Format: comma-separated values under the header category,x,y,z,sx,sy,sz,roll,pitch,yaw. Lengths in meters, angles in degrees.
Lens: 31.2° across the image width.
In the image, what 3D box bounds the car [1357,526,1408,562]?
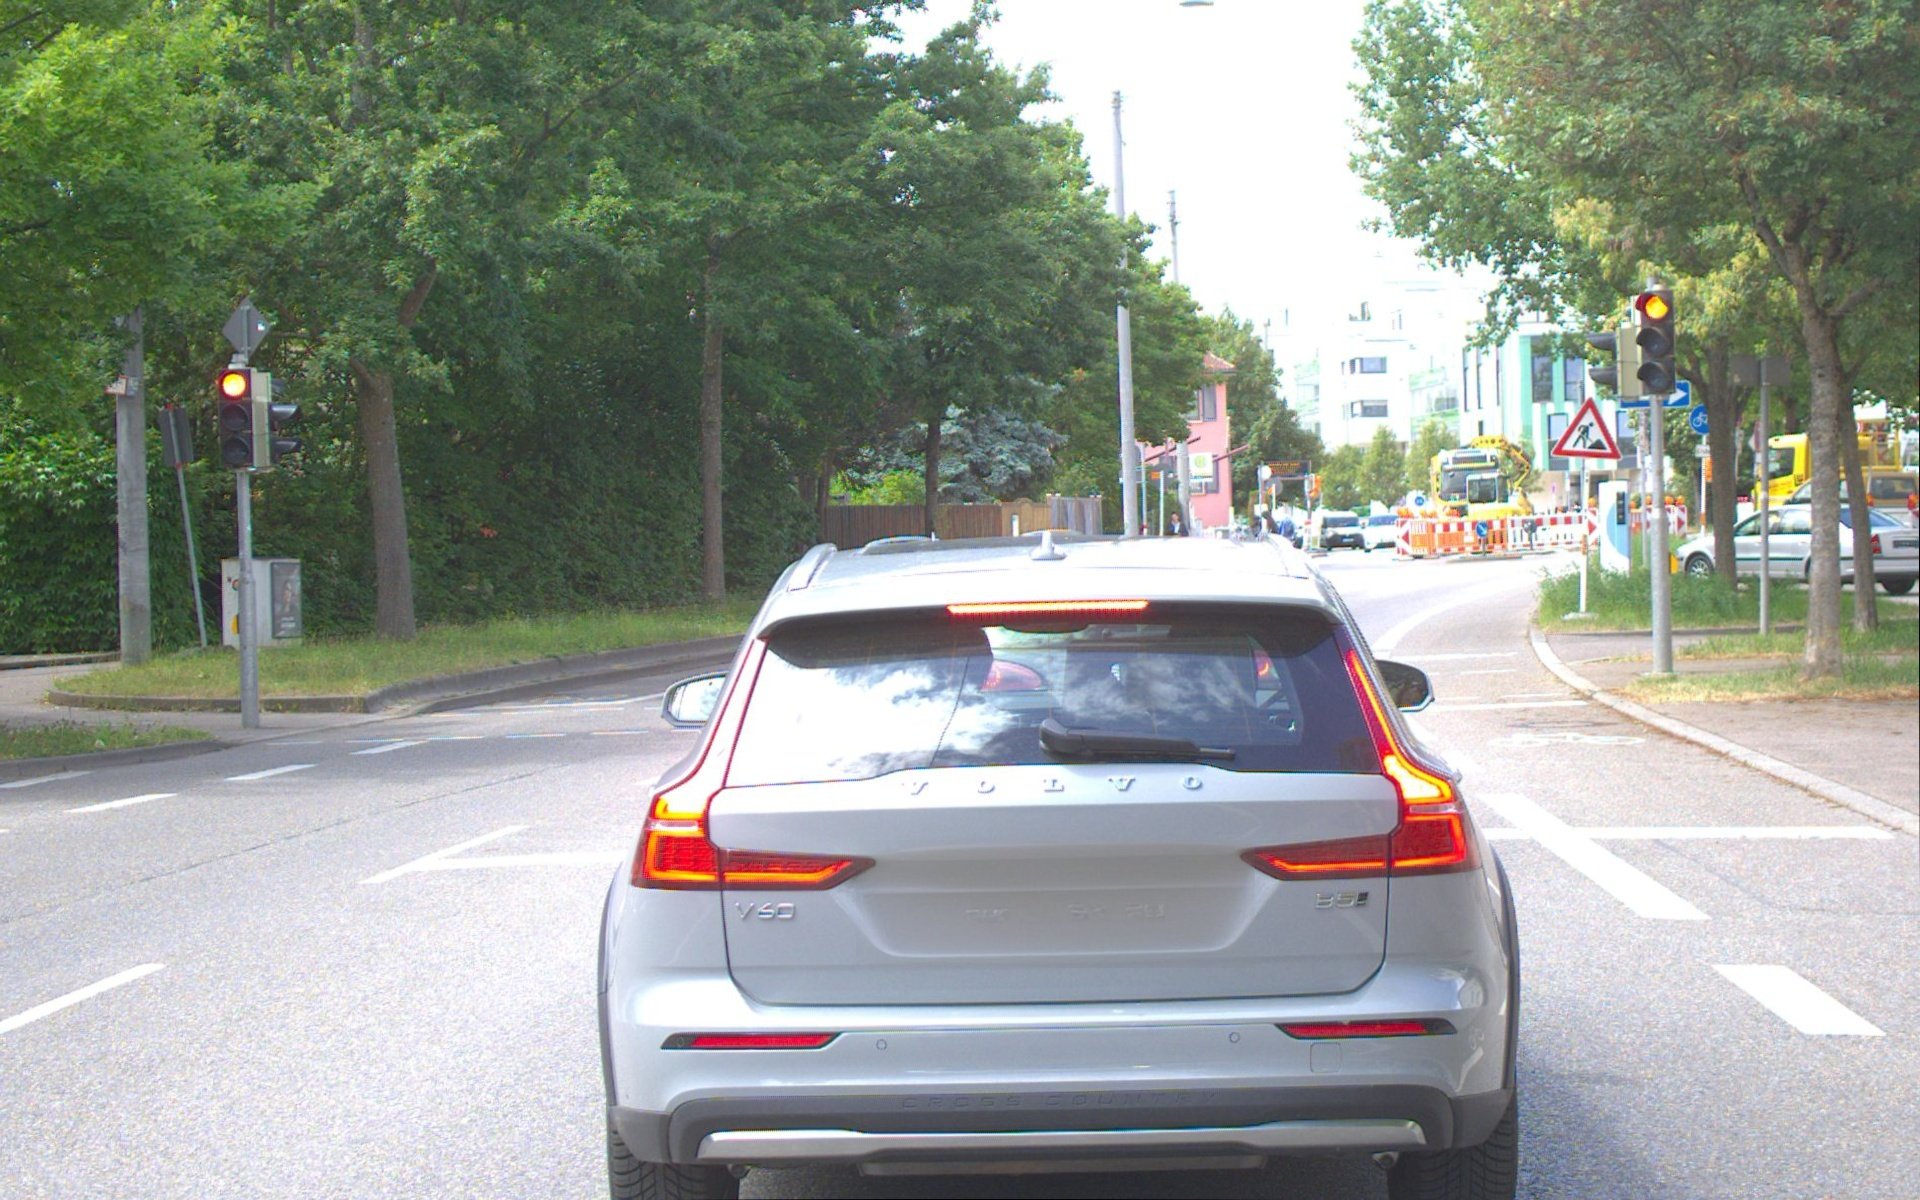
category,x,y,z,sx,sy,sz,roll,pitch,yaw
car,16.763,-2.215,136.331,1.829,1.325,3.998,1,-1,10

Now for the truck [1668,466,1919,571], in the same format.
category,x,y,z,sx,sy,sz,roll,pitch,yaw
truck,16.992,-1.634,69.632,1.993,2.007,5.678,1,1,-28

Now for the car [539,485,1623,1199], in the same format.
category,x,y,z,sx,sy,sz,roll,pitch,yaw
car,0.188,0.546,8.122,1.928,1.535,4.000,0,1,-1

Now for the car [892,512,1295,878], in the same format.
category,x,y,z,sx,sy,sz,roll,pitch,yaw
car,0.644,0.381,16.320,1.661,1.503,3.702,1,1,3

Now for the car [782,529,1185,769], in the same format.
category,x,y,z,sx,sy,sz,roll,pitch,yaw
car,0.269,0.289,23.741,2.103,1.505,3.998,0,0,11

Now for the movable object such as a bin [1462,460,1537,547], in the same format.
category,x,y,z,sx,sy,sz,roll,pitch,yaw
movable object such as a bin,17.258,-3.098,109.866,2.035,2.633,5.937,-2,1,11

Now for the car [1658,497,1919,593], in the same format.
category,x,y,z,sx,sy,sz,roll,pitch,yaw
car,13.456,-0.897,54.982,1.762,1.446,4.689,-2,2,-32
